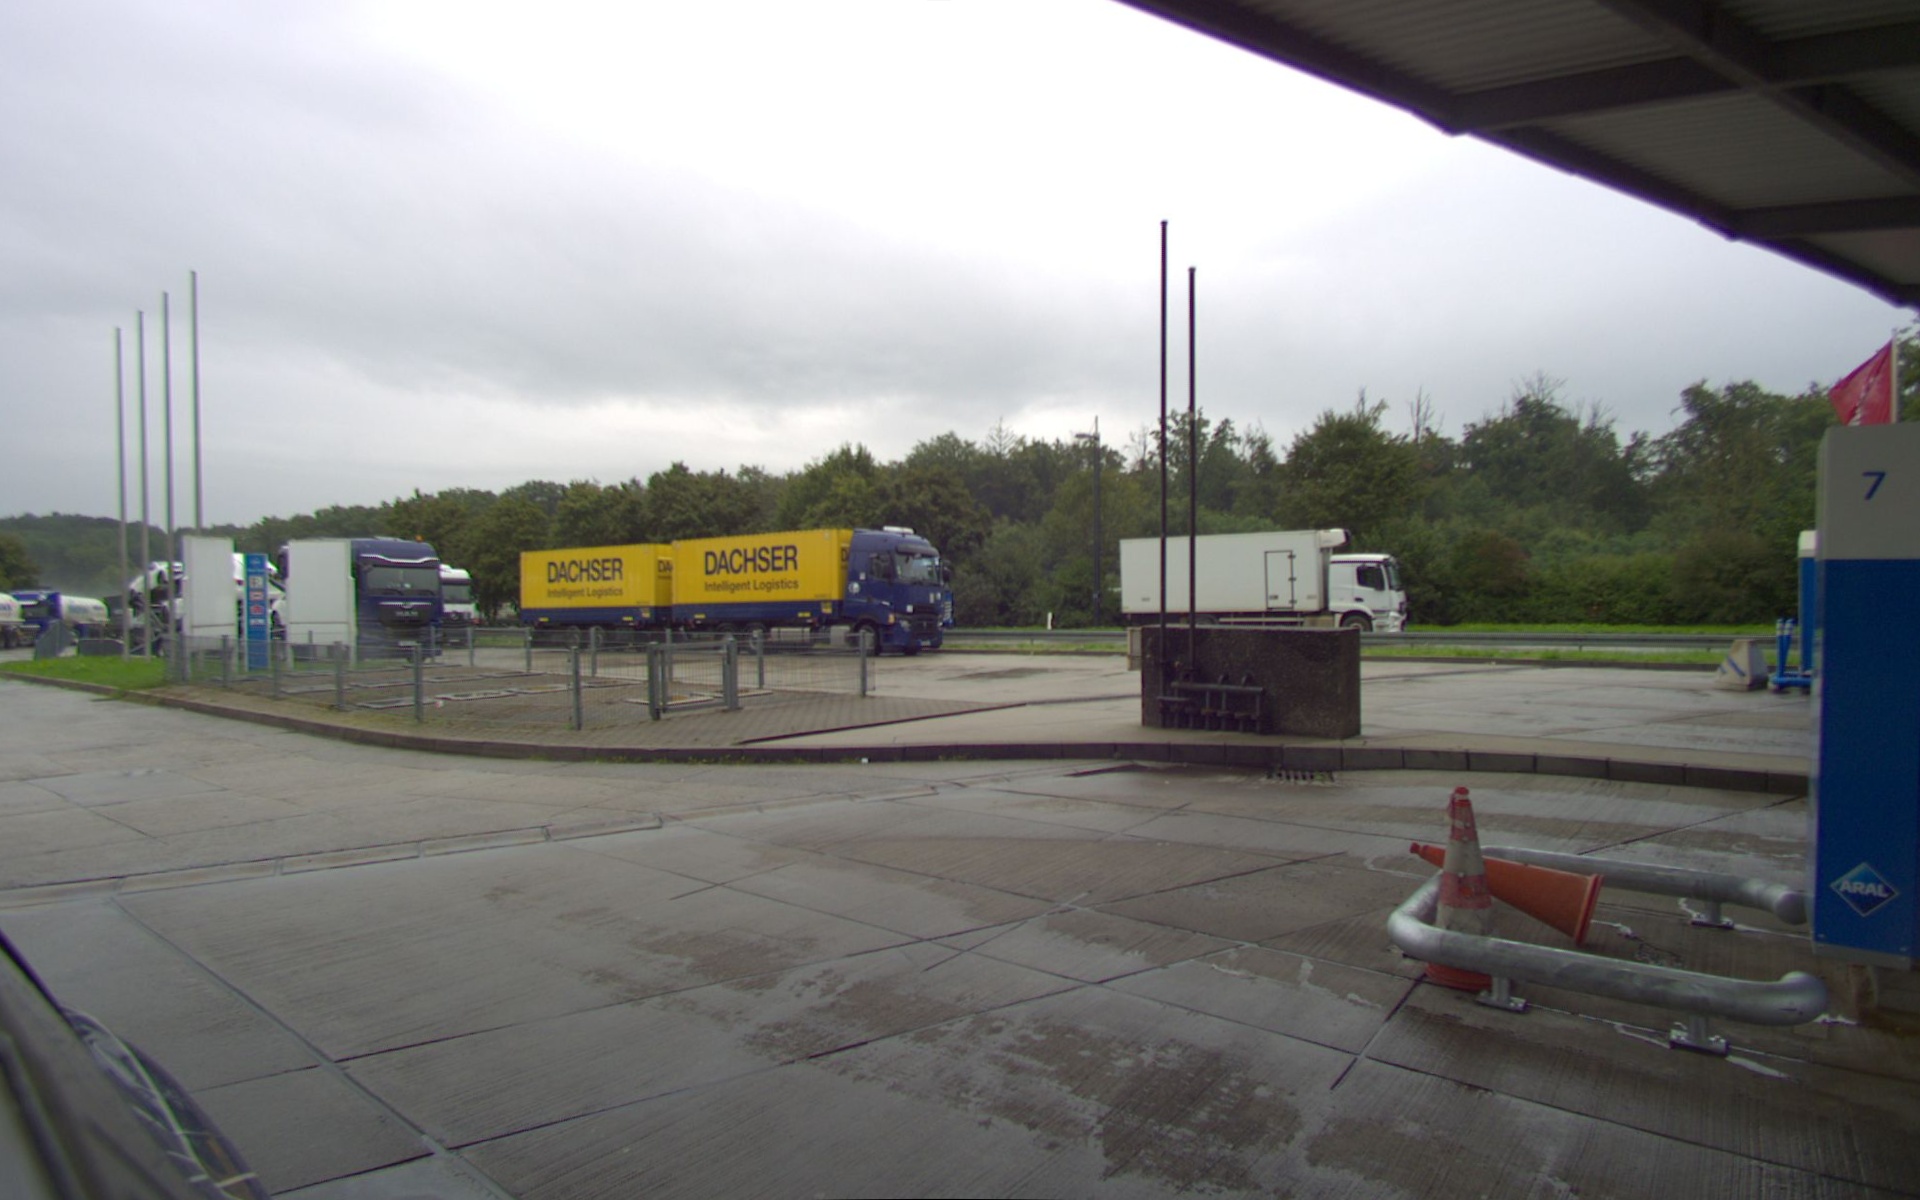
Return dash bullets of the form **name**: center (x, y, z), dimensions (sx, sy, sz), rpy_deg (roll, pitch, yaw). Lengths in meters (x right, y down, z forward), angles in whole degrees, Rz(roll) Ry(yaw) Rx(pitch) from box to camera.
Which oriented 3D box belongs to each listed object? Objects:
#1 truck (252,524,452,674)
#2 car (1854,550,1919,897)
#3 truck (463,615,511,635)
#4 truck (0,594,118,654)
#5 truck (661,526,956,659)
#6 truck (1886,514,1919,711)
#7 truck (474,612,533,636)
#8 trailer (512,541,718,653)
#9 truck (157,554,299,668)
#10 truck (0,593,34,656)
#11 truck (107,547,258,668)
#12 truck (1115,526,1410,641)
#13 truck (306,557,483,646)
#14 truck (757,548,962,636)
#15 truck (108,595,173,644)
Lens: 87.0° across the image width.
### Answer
- **truck**: center (-19.013, 0.016, 31.480), dimensions (7.089, 4.213, 2.635), rpy_deg (-1, 0, 35)
- **car**: center (6.906, 0.545, 3.803), dimensions (5.269, 1.620, 1.842), rpy_deg (-1, 0, 41)
- **truck**: center (-48.269, 2.543, 103.278), dimensions (4.913, 2.029, 1.980), rpy_deg (-1, 0, 29)
- **truck**: center (-61.499, 1.629, 68.658), dimensions (3.454, 3.633, 14.709), rpy_deg (-1, -1, -27)
- **truck**: center (-5.341, -0.172, 34.032), dimensions (10.654, 3.946, 2.727), rpy_deg (-1, 0, 33)
- **truck**: center (14.989, 0.129, 11.958), dimensions (5.859, 2.513, 2.208), rpy_deg (-1, 0, 41)
- **truck**: center (-42.865, 2.243, 95.044), dimensions (5.810, 2.140, 2.061), rpy_deg (-1, 0, 31)
- **trailer**: center (-13.504, -0.067, 39.261), dimensions (8.679, 3.946, 2.728), rpy_deg (-1, 0, 32)
- **truck**: center (-26.111, 0.400, 36.076), dimensions (4.738, 3.800, 2.635), rpy_deg (-1, 0, 34)
- **truck**: center (-55.161, 1.344, 53.691), dimensions (3.454, 3.633, 14.444), rpy_deg (-1, -1, -19)
- **truck**: center (-29.593, 0.304, 38.450), dimensions (6.605, 4.213, 2.635), rpy_deg (-1, 0, 35)
- **truck**: center (10.965, -0.510, 37.452), dimensions (10.195, 3.836, 2.395), rpy_deg (-1, 0, 31)
- **truck**: center (-27.323, 0.111, 48.631), dimensions (10.654, 3.946, 2.727), rpy_deg (-1, 0, 33)
- **truck**: center (-4.884, -0.306, 47.647), dimensions (10.195, 3.836, 2.395), rpy_deg (-1, 0, 31)
- **truck**: center (-73.366, 1.698, 90.439), dimensions (11.525, 4.160, 3.101), rpy_deg (-1, 0, 44)
